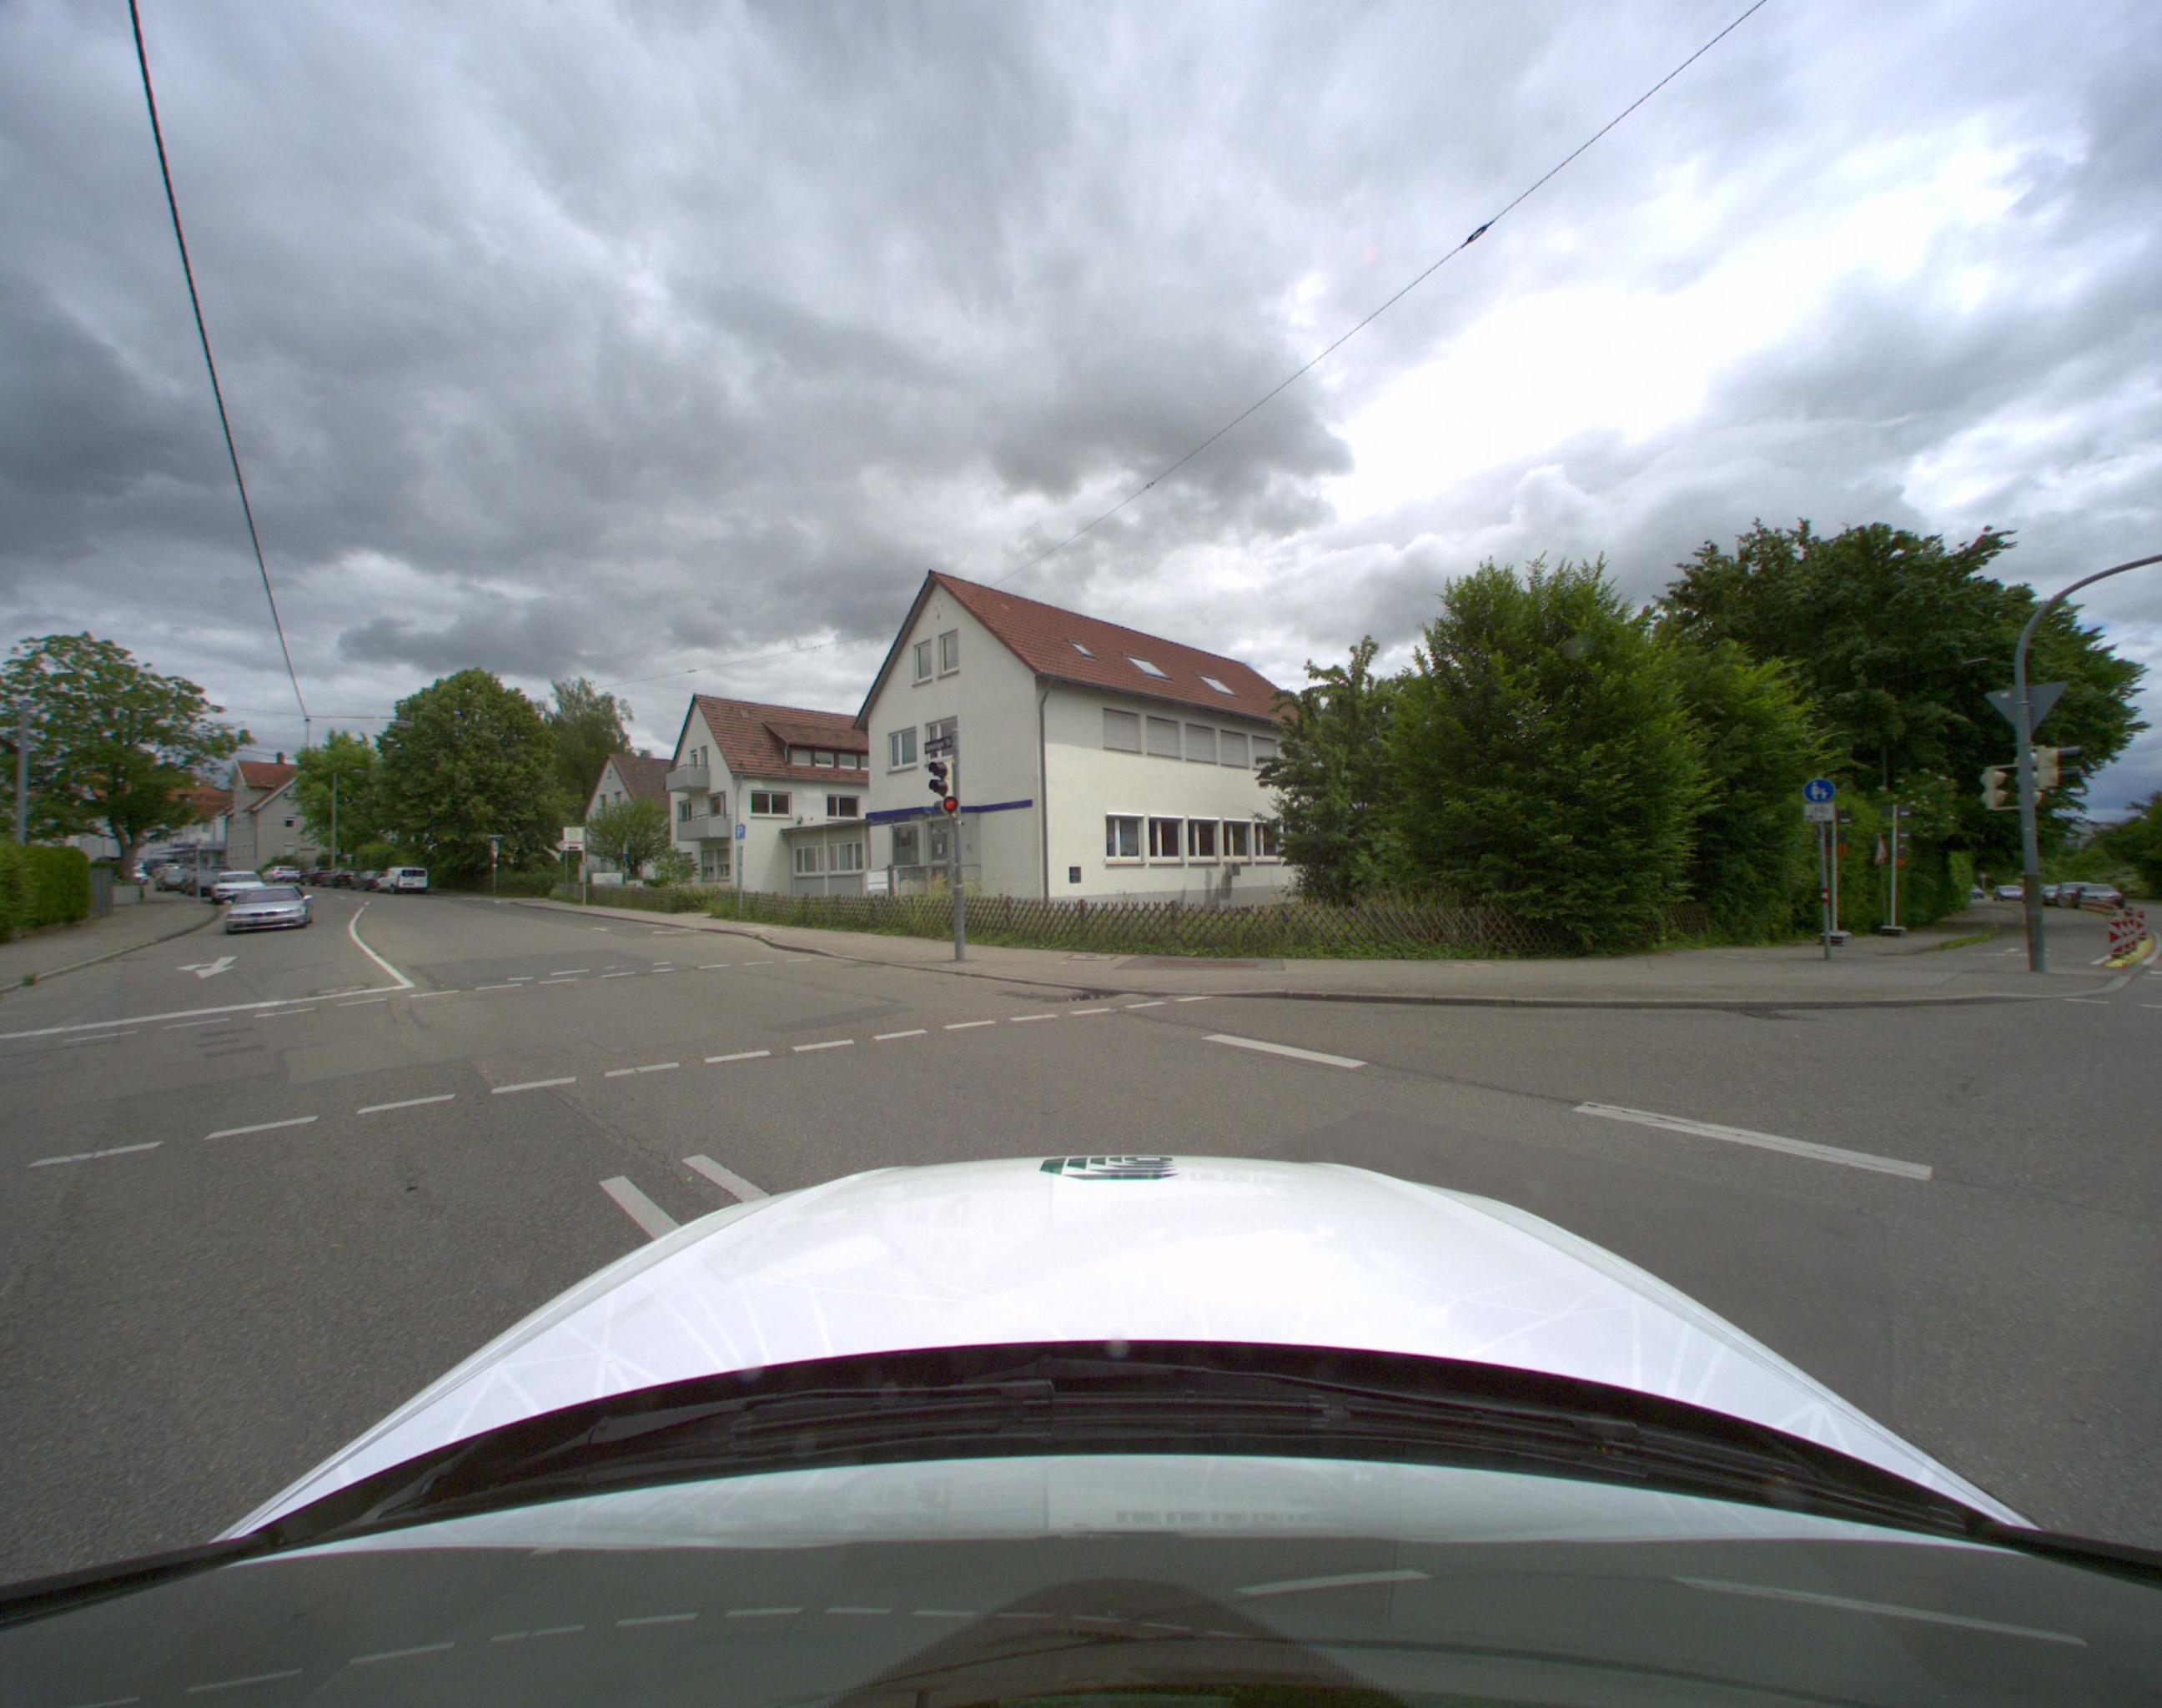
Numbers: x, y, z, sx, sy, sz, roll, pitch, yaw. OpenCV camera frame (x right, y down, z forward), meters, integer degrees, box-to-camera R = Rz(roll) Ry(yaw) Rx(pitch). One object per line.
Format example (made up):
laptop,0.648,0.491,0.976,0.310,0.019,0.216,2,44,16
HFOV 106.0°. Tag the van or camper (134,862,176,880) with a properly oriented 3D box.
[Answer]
van or camper,-102.355,1.902,90.022,4.769,1.926,1.944,0,-1,28

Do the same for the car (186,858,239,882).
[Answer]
car,-75.759,1.413,71.058,3.949,2.014,2.172,0,-2,28

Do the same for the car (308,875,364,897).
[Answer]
car,-56.539,2.401,61.789,4.480,1.616,2.012,-1,-3,34

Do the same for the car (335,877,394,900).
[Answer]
car,-51.182,2.432,58.132,4.560,1.478,2.013,-1,-1,34

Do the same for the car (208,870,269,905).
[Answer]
car,-45.207,1.742,43.673,4.516,1.714,1.867,-1,1,39

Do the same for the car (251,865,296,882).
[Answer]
car,-70.600,1.720,71.214,3.948,1.439,1.959,0,-1,33

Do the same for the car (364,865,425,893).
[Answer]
car,-46.424,1.710,55.063,4.262,1.774,1.855,0,-3,32

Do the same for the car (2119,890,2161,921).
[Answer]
car,66.160,3.152,50.453,4.021,1.750,1.976,1,-3,-41

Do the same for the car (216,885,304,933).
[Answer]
car,-26.102,1.700,25.854,4.031,1.354,1.729,-2,-2,42

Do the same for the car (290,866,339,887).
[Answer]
car,-61.408,1.776,65.197,4.480,1.616,1.828,-1,-3,34

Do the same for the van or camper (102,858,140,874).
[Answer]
van or camper,-112.544,1.387,95.467,4.621,1.829,1.888,0,-3,29
